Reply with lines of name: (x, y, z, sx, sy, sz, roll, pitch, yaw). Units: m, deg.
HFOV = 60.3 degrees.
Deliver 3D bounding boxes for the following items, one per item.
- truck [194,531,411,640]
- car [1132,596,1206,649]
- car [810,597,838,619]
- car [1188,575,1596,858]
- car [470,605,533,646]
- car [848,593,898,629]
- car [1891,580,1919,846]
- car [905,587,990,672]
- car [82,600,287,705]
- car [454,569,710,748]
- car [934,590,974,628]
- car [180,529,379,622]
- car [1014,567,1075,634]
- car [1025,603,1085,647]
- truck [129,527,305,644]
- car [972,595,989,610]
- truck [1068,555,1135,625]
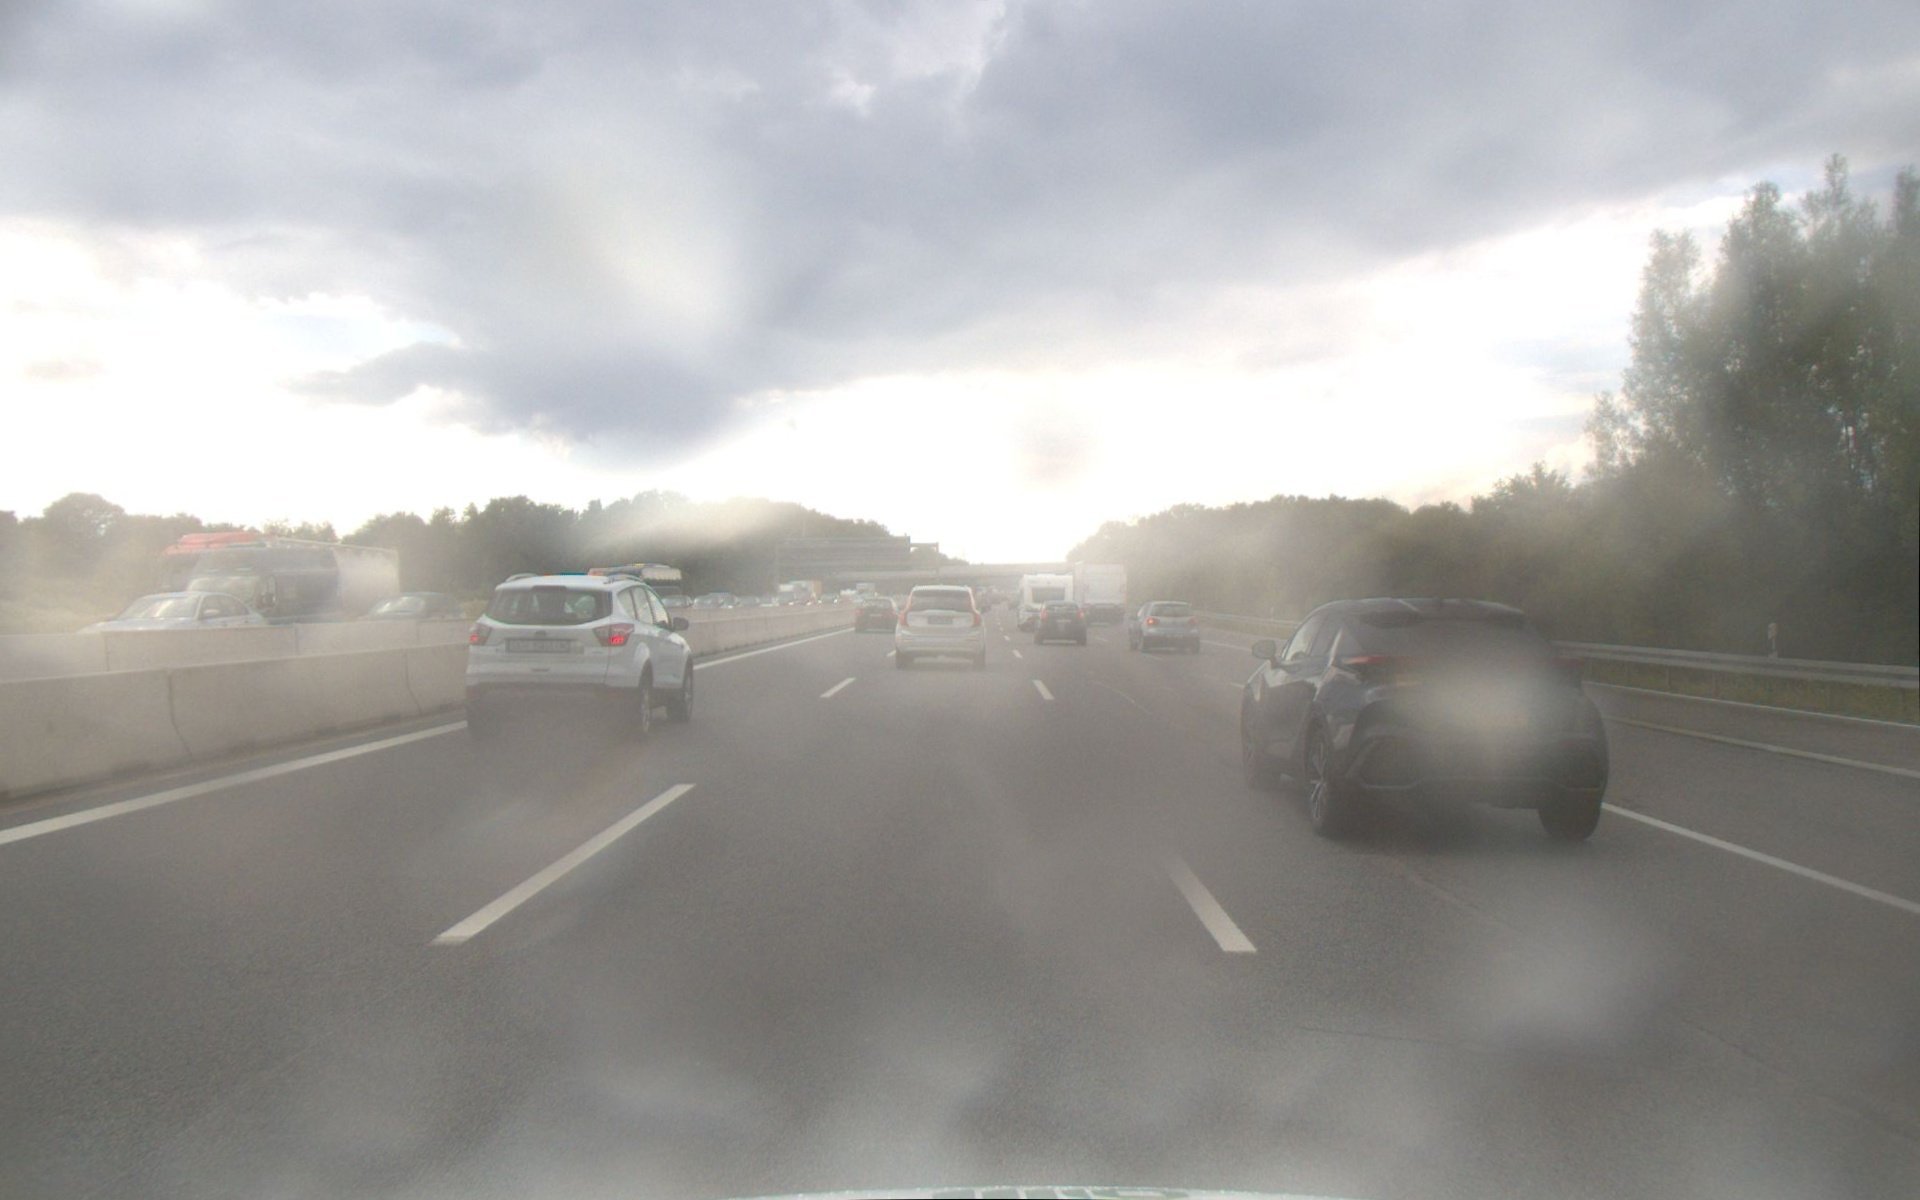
truck: (-25.372, -0.534, 64.924, 3.084, 3.811, 13.300, 0, 0, 0)
car: (6.181, 0.643, 49.374, 1.758, 1.503, 4.038, 0, 0, 1)
car: (-12.096, 0.717, 147.416, 1.952, 1.937, 4.504, 0, 0, 1)
car: (2.849, 0.677, 11.990, 1.744, 1.641, 4.597, 0, 0, 0)
car: (-24.035, 1.303, 86.858, 1.952, 2.049, 4.425, 0, 0, 1)
car: (-3.698, 0.450, 70.830, 1.744, 1.507, 4.354, 0, 0, 2)
car: (6.774, 0.702, 8.105, 1.773, 1.627, 4.695, 0, 0, 0)
car: (-0.297, 0.602, 36.336, 1.744, 1.746, 4.352, 0, 0, -1)
car: (-13.908, 0.891, 29.923, 1.767, 1.749, 4.000, 0, 0, 1)
car: (-4.011, 0.544, 18.371, 1.778, 1.719, 4.851, 0, 0, -1)
car: (-0.301, 0.420, 78.586, 1.843, 1.715, 3.999, 0, 0, -1)
car: (-17.402, -0.590, 42.809, 2.212, 2.203, 6.818, 0, 0, 1)
car: (3.881, 0.014, 77.178, 2.514, 2.946, 7.534, 0, 0, 1)
car: (3.219, 0.831, 56.473, 1.846, 1.431, 4.282, 0, 0, 1)
truck: (-25.486, -0.489, 57.111, 3.085, 3.777, 6.319, 0, 0, 1)
car: (2.395, 0.317, 193.221, 1.843, 1.715, 3.999, 0, 0, -1)
truck: (8.036, -0.558, 95.097, 3.069, 3.774, 9.848, 0, 0, 1)
